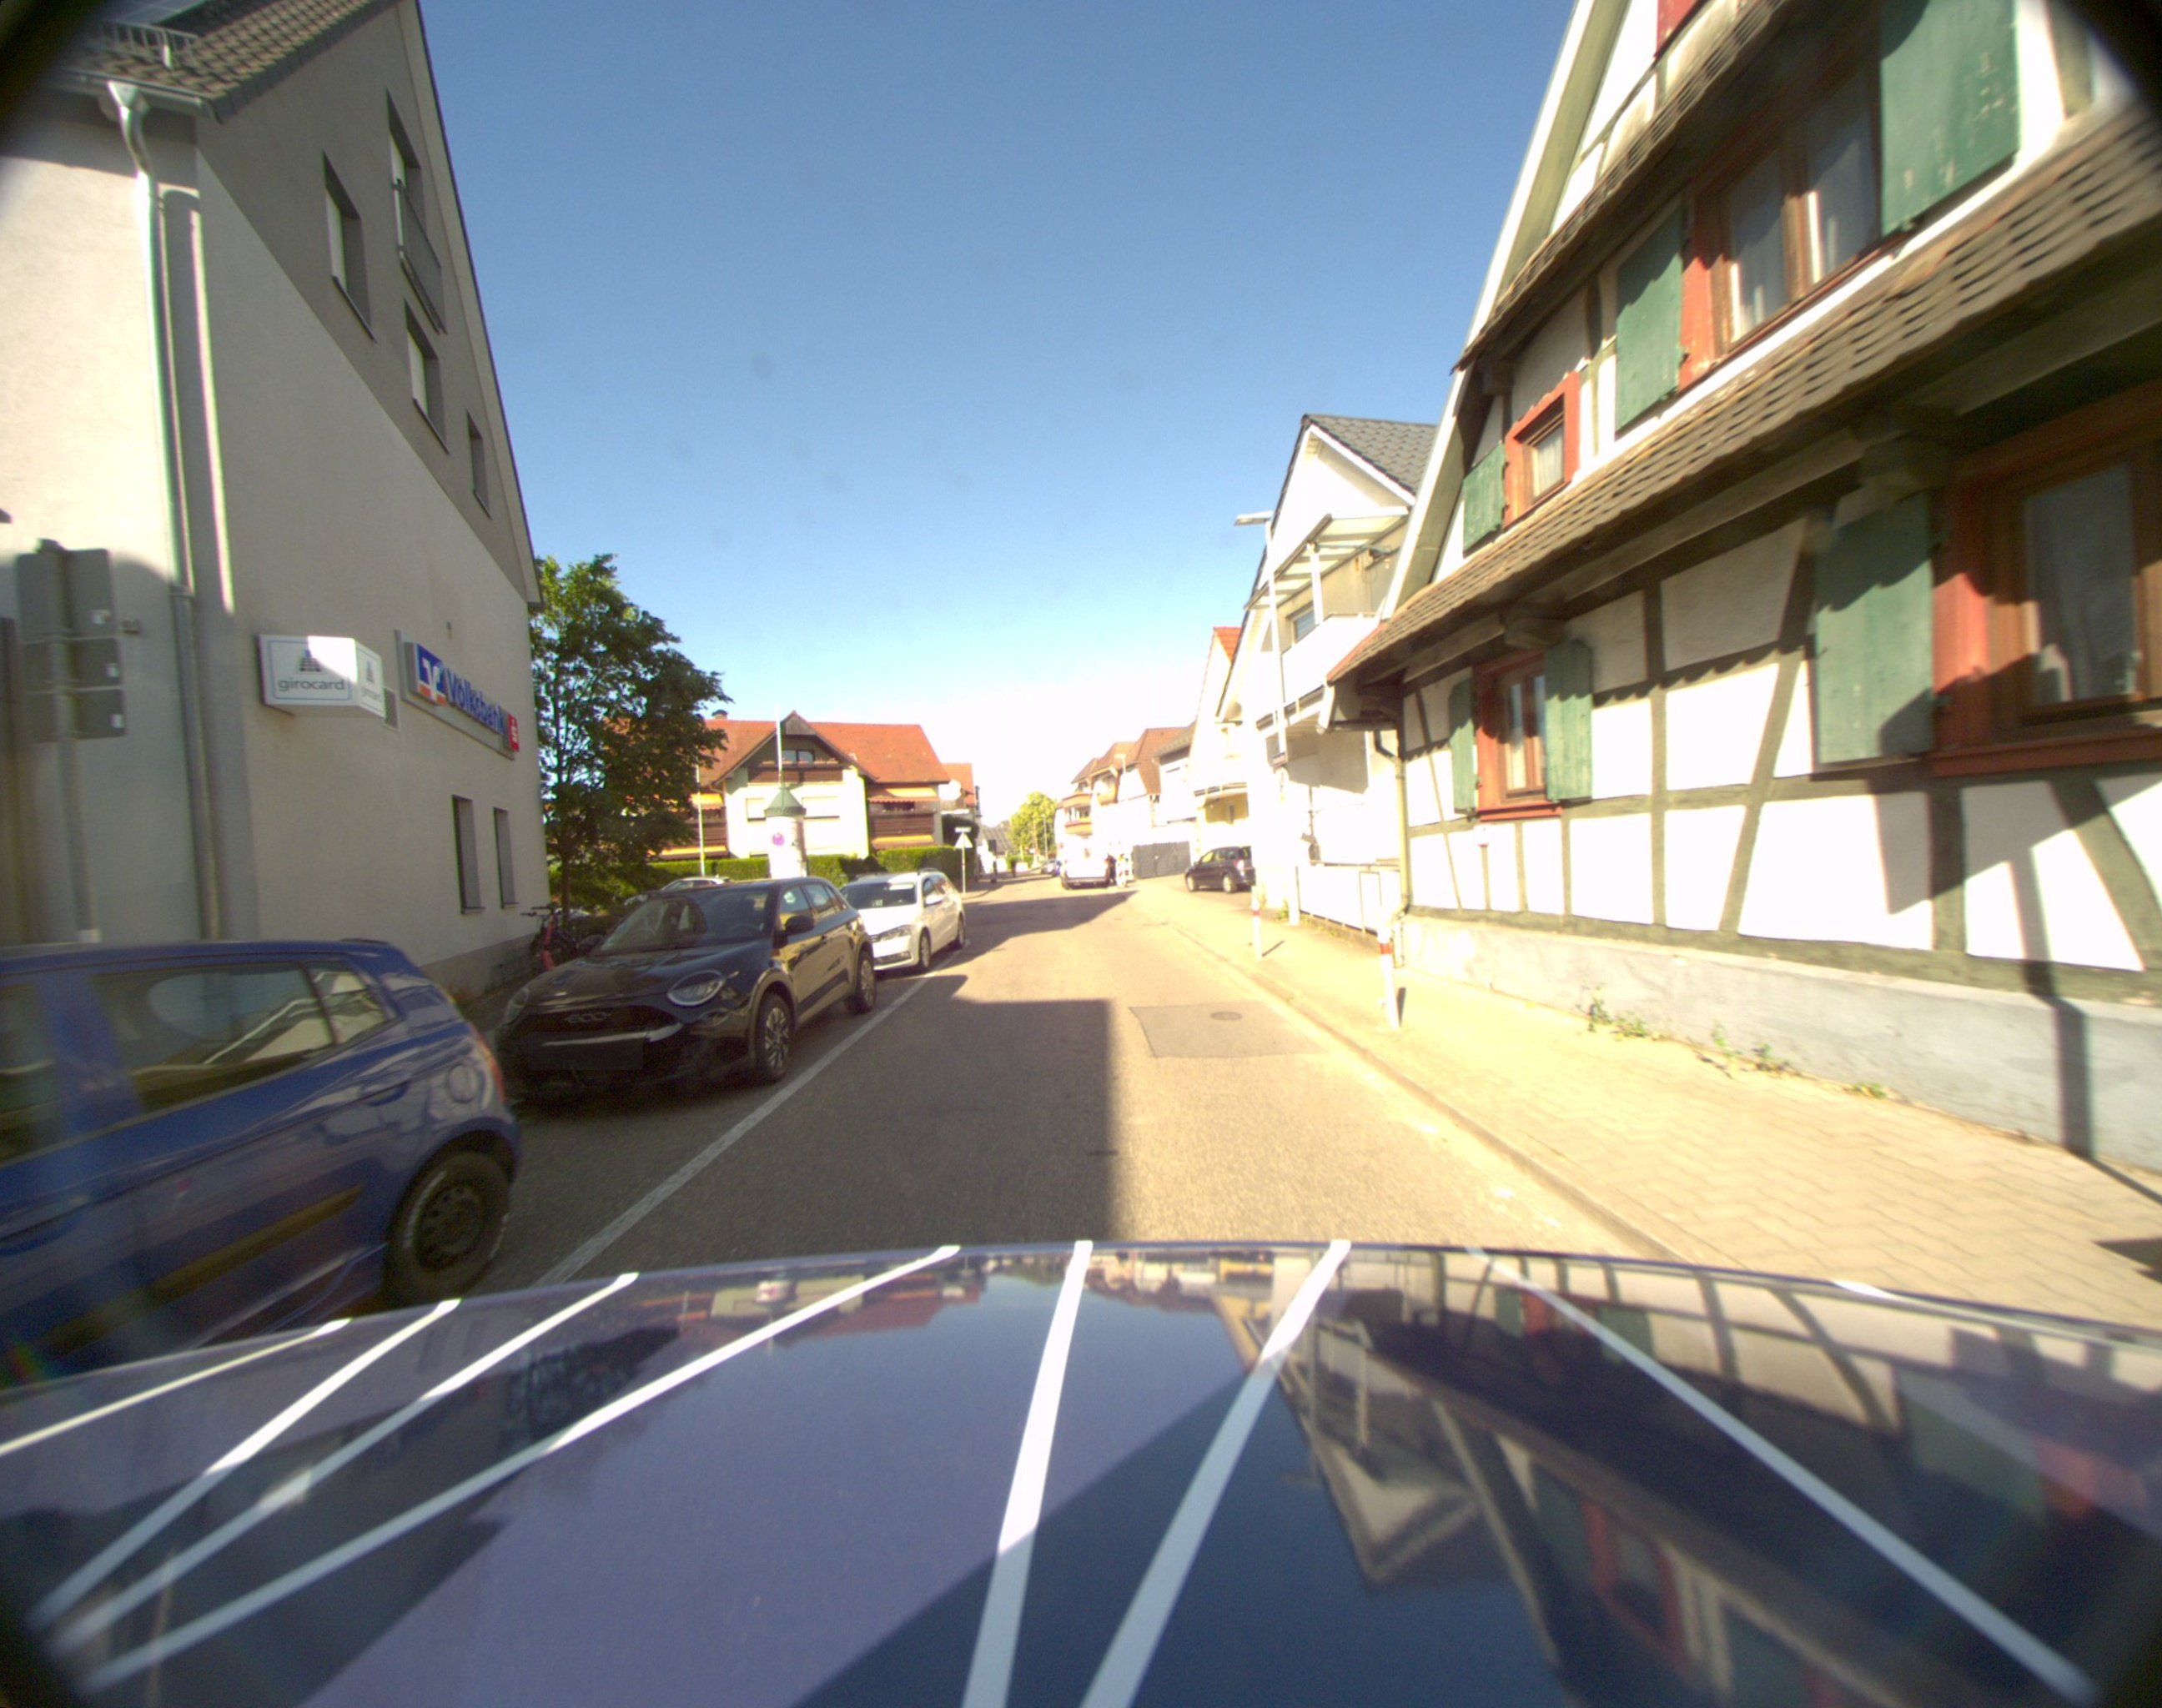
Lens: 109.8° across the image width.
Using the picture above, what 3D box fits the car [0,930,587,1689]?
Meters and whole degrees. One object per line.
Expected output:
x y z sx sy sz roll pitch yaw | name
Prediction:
-3.298 1.181 1.660 1.729 1.466 3.875 -6 0 1 | car

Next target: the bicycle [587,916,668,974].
-8.008 1.598 13.444 1.166 0.914 0.313 -4 1 -2 | bicycle

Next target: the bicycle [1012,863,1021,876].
-6.126 1.476 72.013 0.639 1.175 2.021 -4 0 -1 | bicycle

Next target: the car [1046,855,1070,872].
-2.267 0.919 73.834 1.764 1.547 3.997 -4 0 -8 | car

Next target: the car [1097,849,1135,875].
2.334 0.516 51.661 1.647 1.577 4.109 -4 0 -9 | car

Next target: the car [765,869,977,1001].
-3.047 1.098 12.158 1.850 1.505 4.507 -4 0 3 | car

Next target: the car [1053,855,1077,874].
-1.398 0.875 65.082 1.623 1.431 3.954 -4 0 -6 | car

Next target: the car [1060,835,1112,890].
0.150 0.385 38.203 2.258 2.456 5.515 -4 0 -2 | car

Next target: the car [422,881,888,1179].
-3.085 1.137 6.583 1.614 1.512 3.971 -6 0 1 | car

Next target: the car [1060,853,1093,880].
-0.338 0.811 50.014 1.727 1.609 4.110 -4 0 -5 | car

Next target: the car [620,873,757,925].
-15.062 1.700 29.395 4.306 1.584 1.812 -3 2 -15 | car

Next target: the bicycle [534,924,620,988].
-7.992 1.616 12.046 1.165 0.914 0.313 -4 1 8 | bicycle

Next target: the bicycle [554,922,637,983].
-7.941 1.607 12.438 1.165 0.914 0.313 -4 1 8 | bicycle

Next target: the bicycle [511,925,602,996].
-7.801 1.583 11.298 1.224 0.970 0.320 -4 1 13 | bicycle

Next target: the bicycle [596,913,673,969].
-8.270 1.607 14.083 1.166 0.914 0.313 -4 1 -2 | bicycle

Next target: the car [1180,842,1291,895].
4.921 0.453 24.767 1.694 1.437 4.171 -5 1 -16 | car

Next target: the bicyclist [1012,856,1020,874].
-6.139 1.051 72.114 0.643 1.655 0.605 -3 1 -1 | bicyclist
